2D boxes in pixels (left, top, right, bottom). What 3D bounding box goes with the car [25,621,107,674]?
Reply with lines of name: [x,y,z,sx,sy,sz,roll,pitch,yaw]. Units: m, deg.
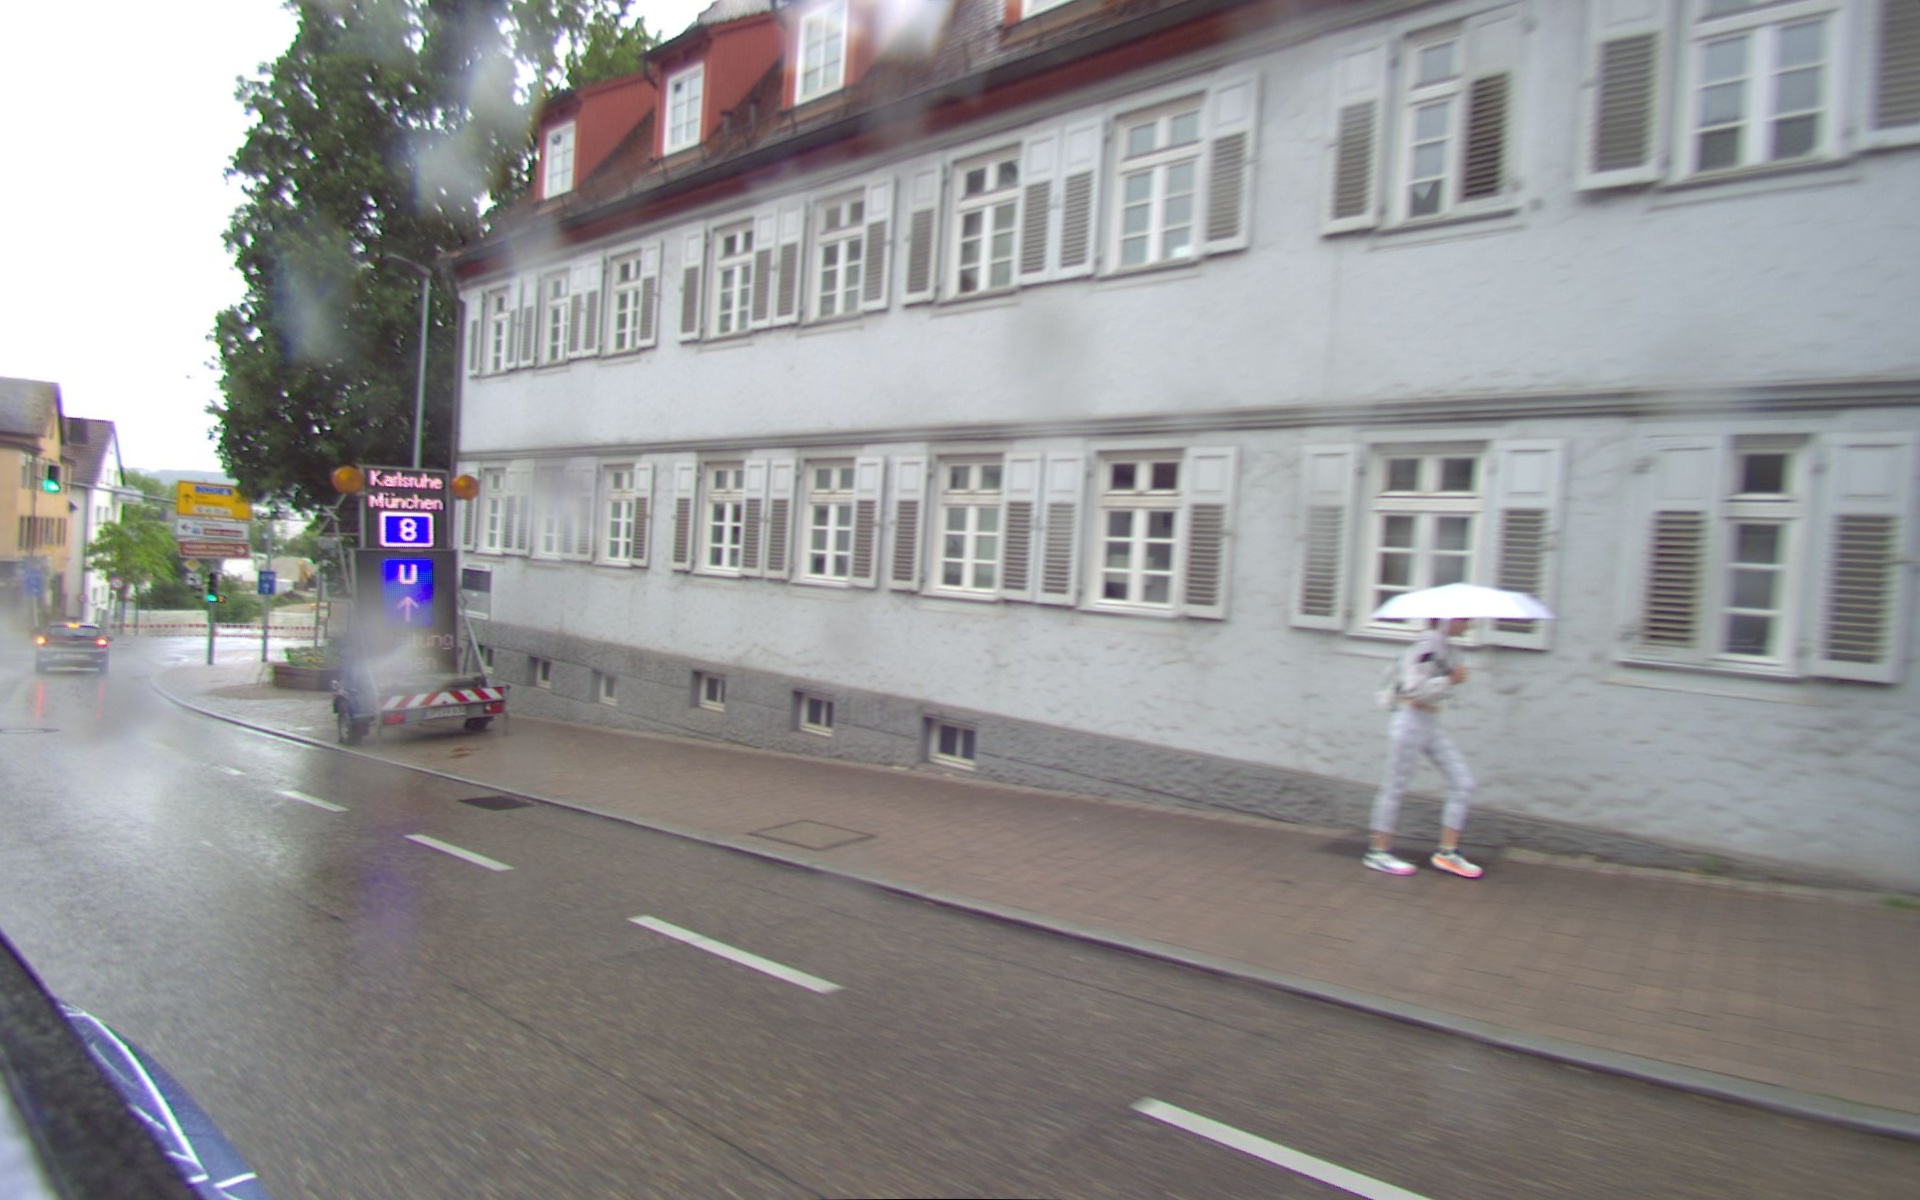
car: [-26.470,1.399,29.937,1.589,1.483,3.588,4,-4,-44]

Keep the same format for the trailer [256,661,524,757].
trailer: [-8.001,1.397,14.021,4.477,0.912,1.972,-1,-1,43]

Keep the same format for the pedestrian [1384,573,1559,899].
pedestrian: [2.999,0.731,5.935,0.735,1.753,0.680,-1,-1,43]
